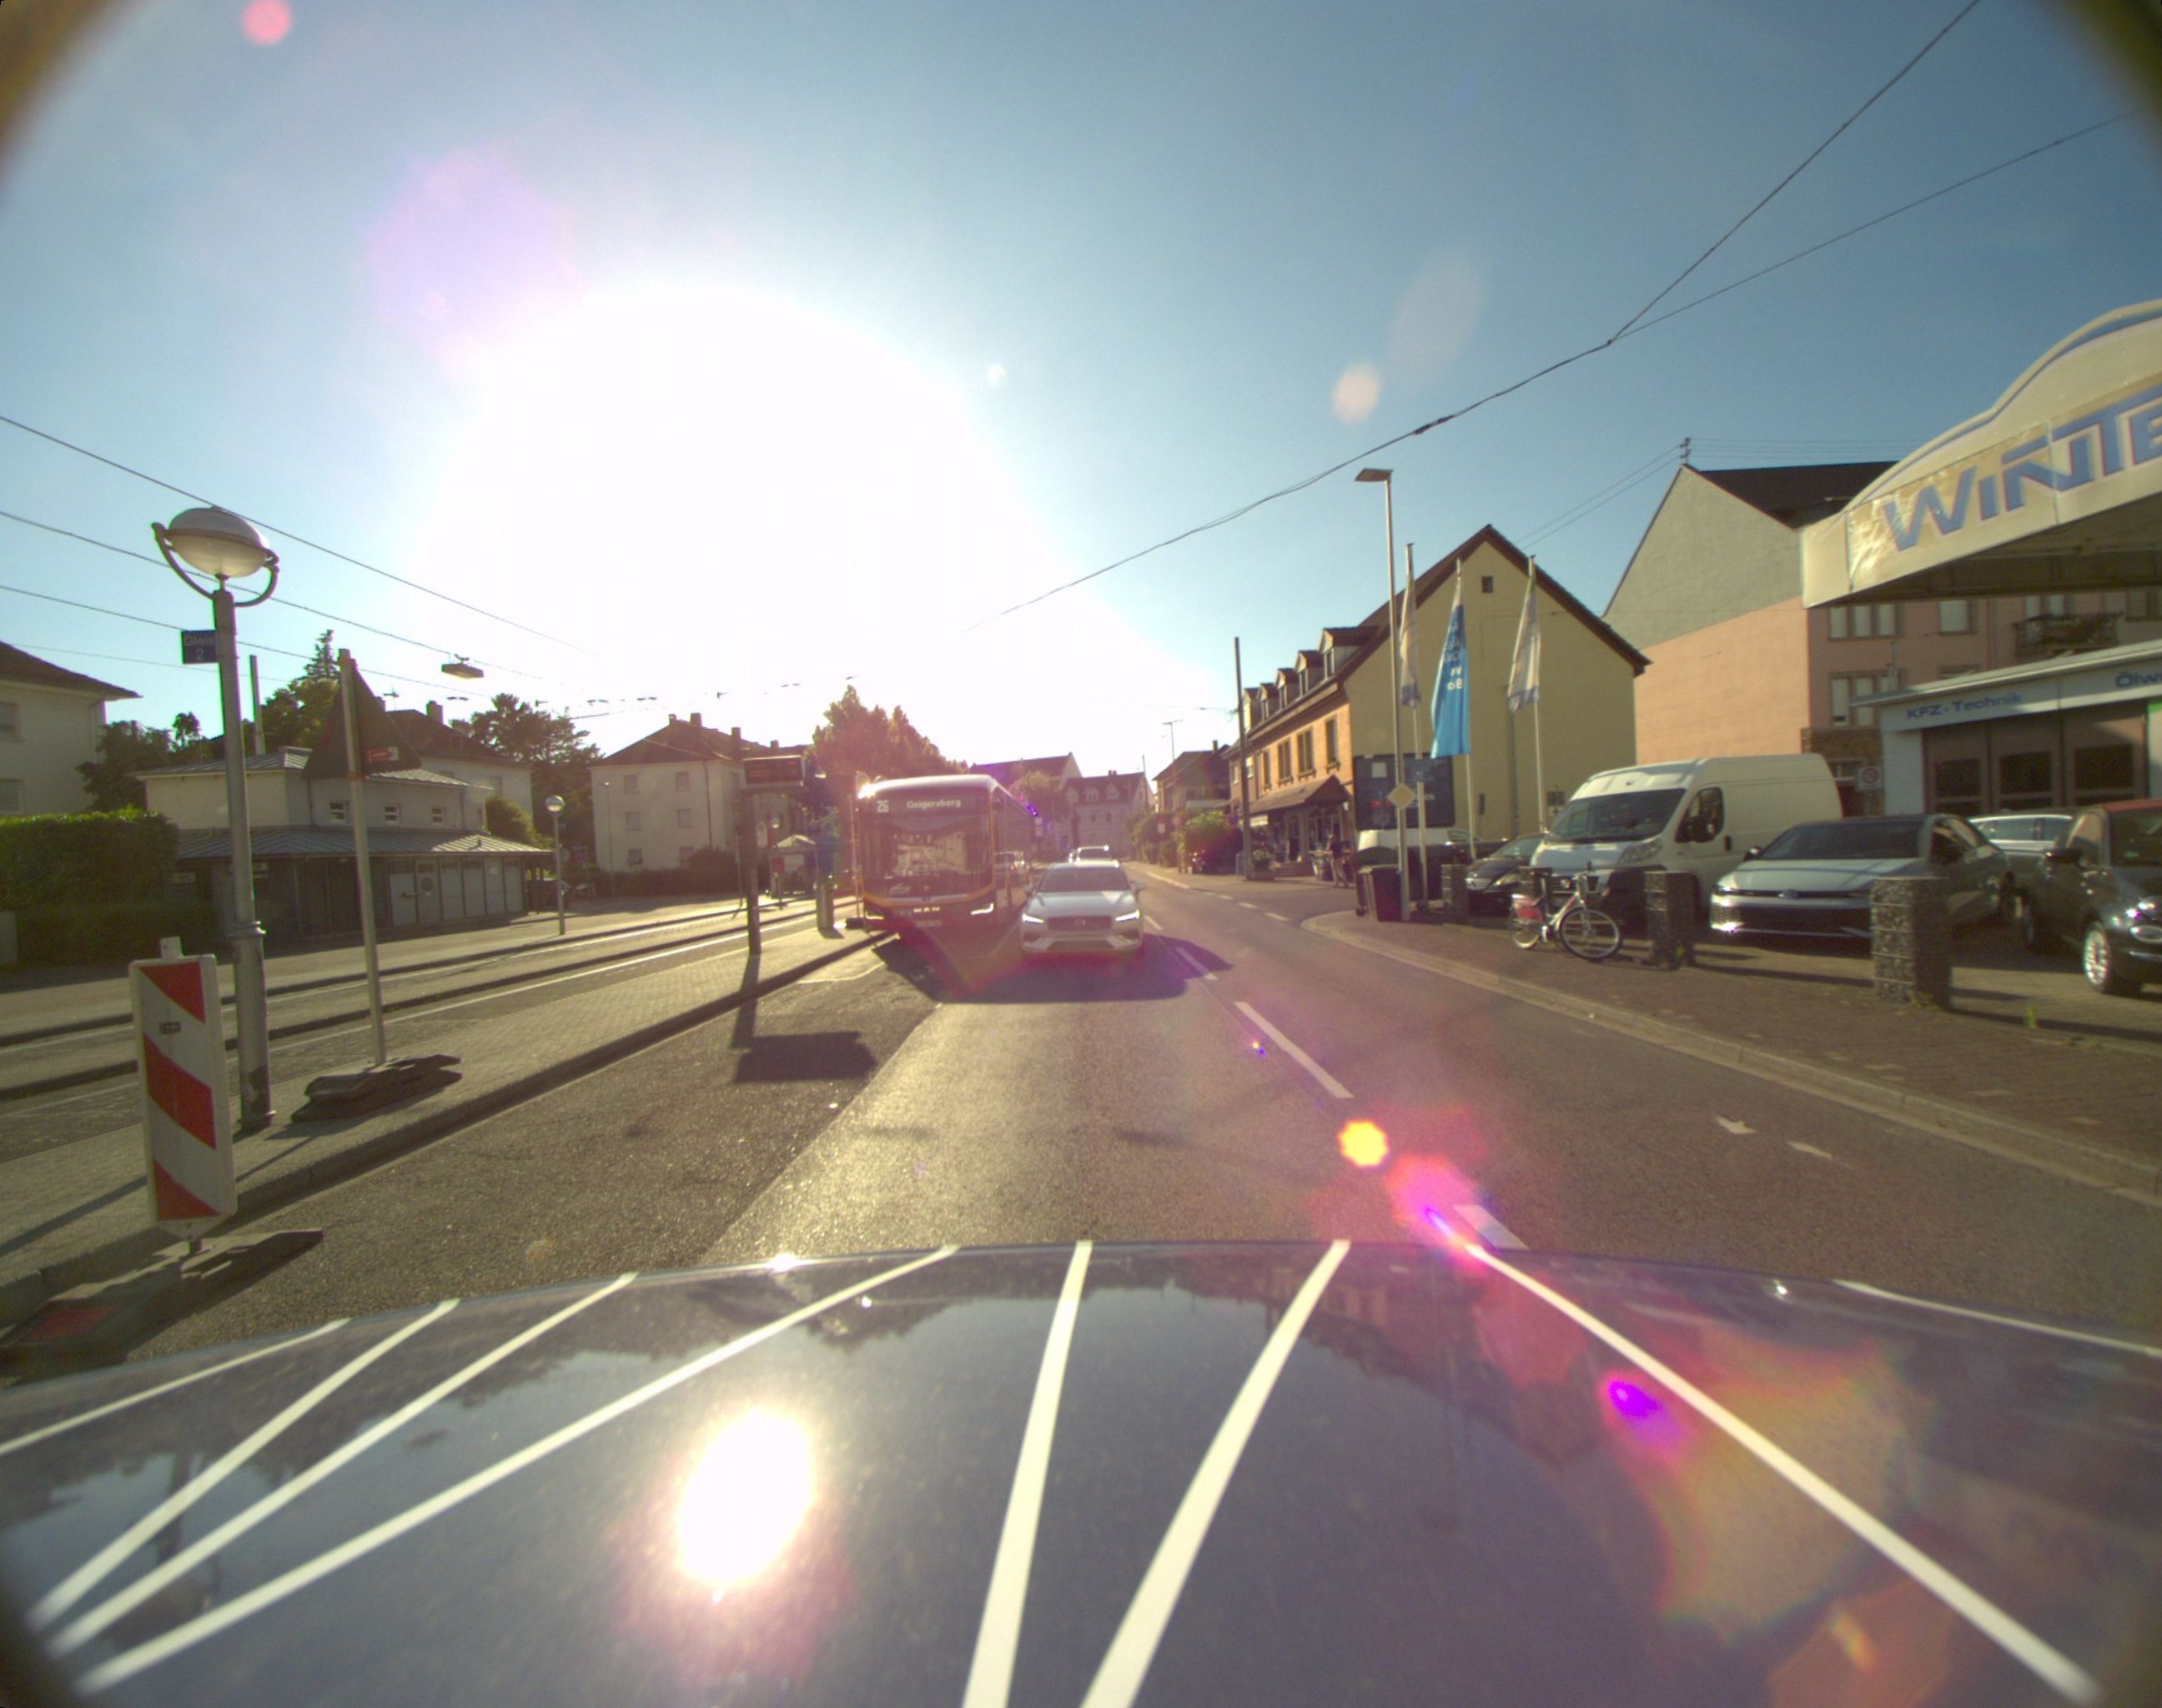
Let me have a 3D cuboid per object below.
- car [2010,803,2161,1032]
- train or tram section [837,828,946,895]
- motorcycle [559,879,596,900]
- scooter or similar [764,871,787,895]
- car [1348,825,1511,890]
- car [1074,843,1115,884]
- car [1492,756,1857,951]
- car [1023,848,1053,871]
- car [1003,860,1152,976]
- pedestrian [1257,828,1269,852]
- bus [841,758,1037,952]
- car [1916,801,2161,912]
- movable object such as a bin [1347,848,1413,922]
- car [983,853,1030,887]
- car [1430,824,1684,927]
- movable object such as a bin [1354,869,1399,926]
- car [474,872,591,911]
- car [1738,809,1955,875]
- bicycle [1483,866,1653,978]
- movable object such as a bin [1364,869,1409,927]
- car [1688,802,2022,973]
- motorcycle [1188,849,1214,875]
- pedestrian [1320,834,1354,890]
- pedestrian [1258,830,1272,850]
[{"bbox_3d":[9.111,0.373,6.123,1.617,1.559,3.400,-2,1,43],"label":"car"},{"bbox_3d":[-11.662,0.180,49.102,2.965,3.514,15.964,-2,2,0],"label":"train or tram section"},{"bbox_3d":[-31.093,2.169,46.898,1.826,1.155,0.558,-3,1,-3],"label":"motorcycle"},{"bbox_3d":[-16.202,1.523,40.329,0.467,1.201,1.210,-2,1,11],"label":"scooter or similar"},{"bbox_3d":[11.877,0.097,26.118,4.627,1.922,1.999,-3,1,-2],"label":"car"},{"bbox_3d":[0.659,0.482,40.755,1.871,1.922,4.791,-4,0,-2],"label":"car"},{"bbox_3d":[9.183,-0.112,11.753,5.076,2.455,2.105,-4,1,-22],"label":"car"},{"bbox_3d":[-3.292,0.382,59.435,1.998,1.664,4.000,-2,0,1],"label":"car"},{"bbox_3d":[0.093,0.902,12.700,1.998,1.454,4.450,-3,0,4],"label":"car"},{"bbox_3d":[9.954,-0.766,41.565,0.524,1.251,0.465,-3,1,1],"label":"pedestrian"},{"bbox_3d":[-2.924,-0.013,19.821,2.695,3.396,12.017,-3,0,0],"label":"bus"},{"bbox_3d":[16.360,-0.003,11.873,1.772,1.559,4.315,-4,0,-1],"label":"car"},{"bbox_3d":[6.371,0.650,16.161,1.055,1.473,1.315,-4,-2,28],"label":"movable object such as a bin"},{"bbox_3d":[-3.955,0.809,40.804,1.998,1.664,4.000,-2,0,1],"label":"car"},{"bbox_3d":[9.030,0.361,14.497,4.001,1.559,1.771,-4,0,-14],"label":"car"},{"bbox_3d":[5.875,0.855,15.127,0.661,1.056,0.585,-5,-1,12],"label":"movable object such as a bin"},{"bbox_3d":[-27.618,1.873,38.350,4.448,1.759,2.000,-2,1,4],"label":"car"},{"bbox_3d":[21.204,-0.369,21.191,3.997,1.517,1.998,-3,5,0],"label":"car"},{"bbox_3d":[5.892,0.770,9.334,0.725,1.171,1.779,-3,1,-9],"label":"bicycle"},{"bbox_3d":[5.834,0.833,14.535,0.641,1.063,0.581,-3,-2,12],"label":"movable object such as a bin"},{"bbox_3d":[9.363,0.290,9.144,4.005,1.559,1.769,-4,0,-29],"label":"car"},{"bbox_3d":[6.324,0.384,40.158,0.841,1.275,2.231,-4,1,-3],"label":"motorcycle"},{"bbox_3d":[8.777,0.258,26.071,0.819,1.857,0.795,-3,1,0],"label":"pedestrian"},{"bbox_3d":[9.767,-0.724,40.330,0.525,1.041,0.383,-3,1,-16],"label":"pedestrian"}]
